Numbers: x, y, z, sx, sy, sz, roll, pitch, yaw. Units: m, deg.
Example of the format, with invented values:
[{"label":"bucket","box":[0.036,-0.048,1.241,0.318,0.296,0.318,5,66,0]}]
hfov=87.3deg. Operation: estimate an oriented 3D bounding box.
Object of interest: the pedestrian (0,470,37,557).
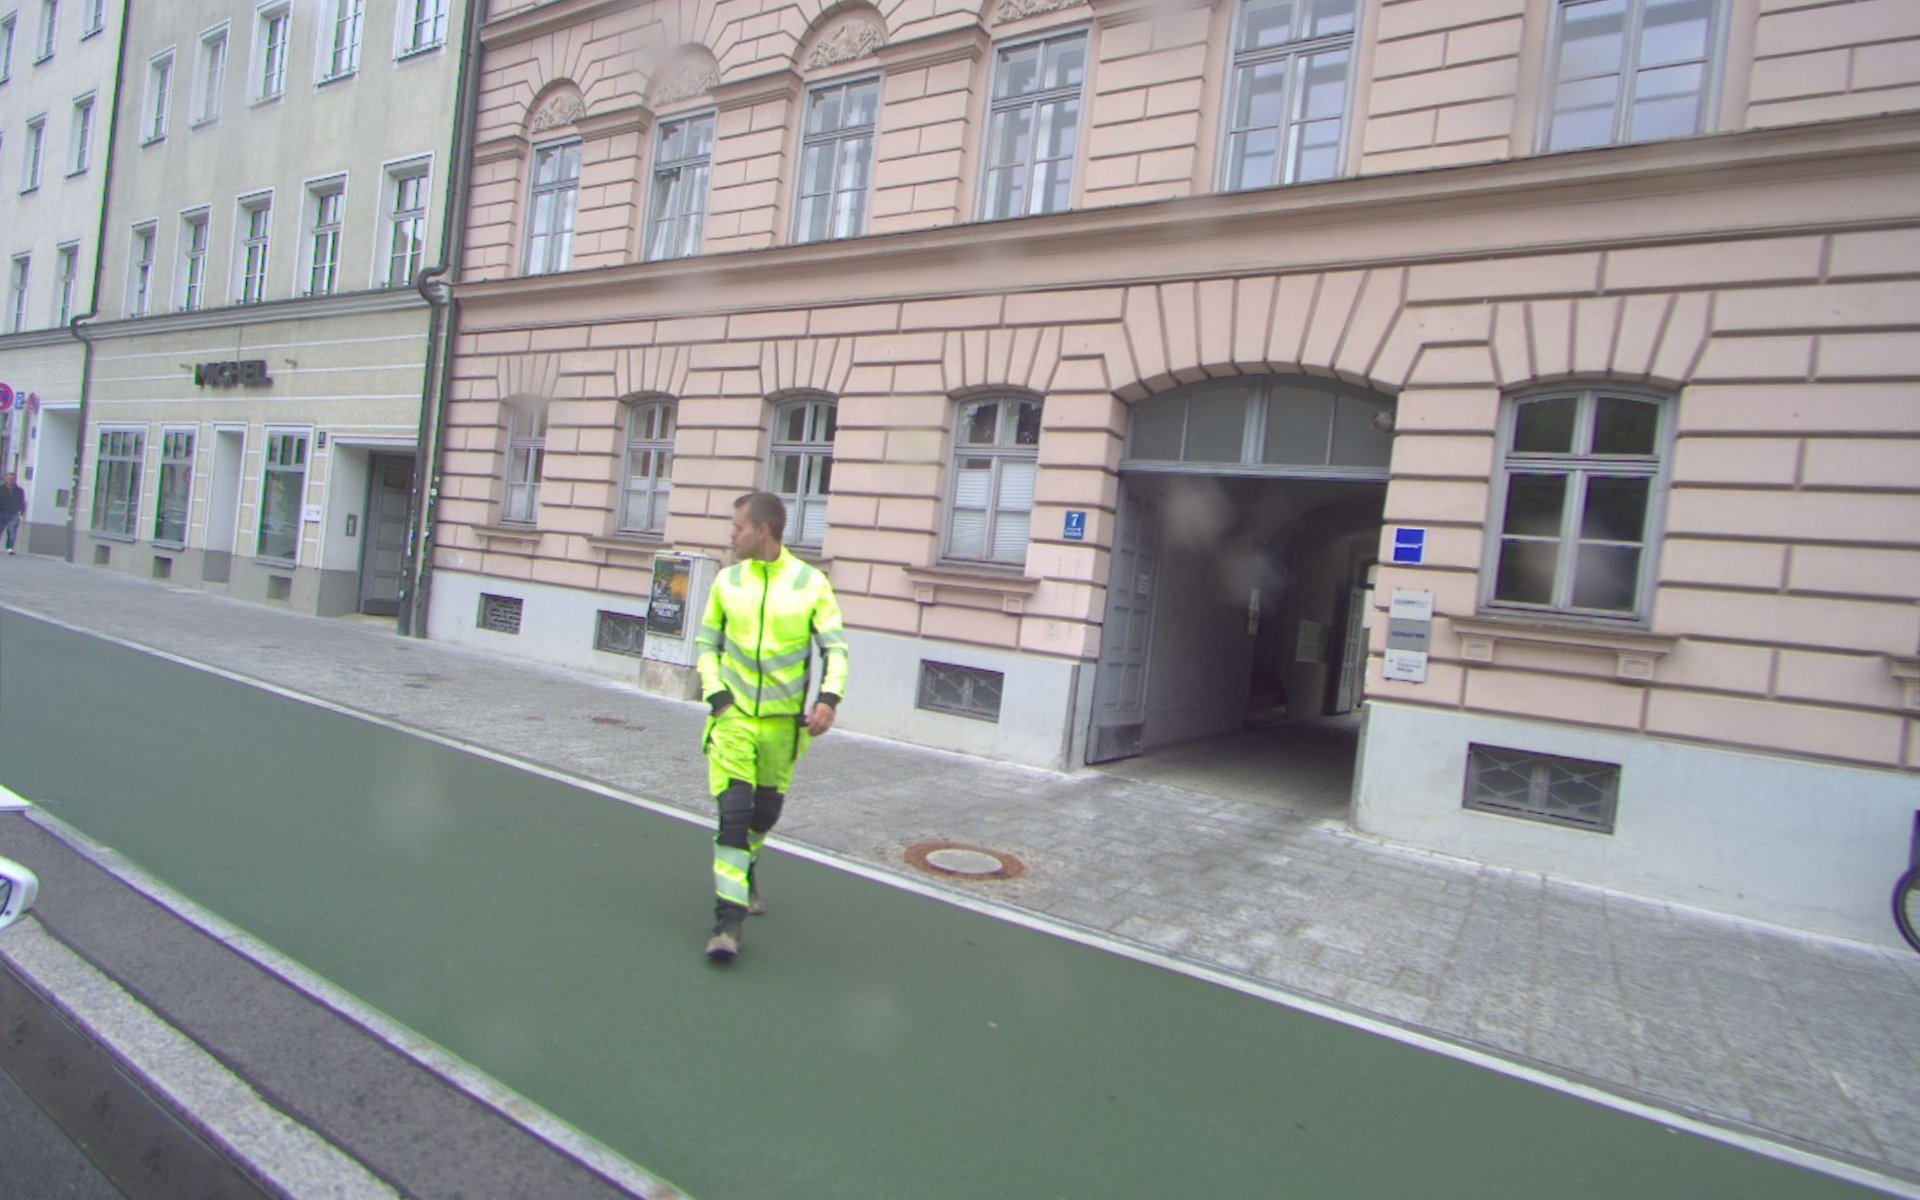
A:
[{"label":"pedestrian","box":[-20.539,-1.875,21.577,0.819,1.767,0.794,7,1,32]}]

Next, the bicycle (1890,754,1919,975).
[{"label":"bicycle","box":[6.006,1.542,5.146,0.554,1.192,1.704,6,1,-44]}]

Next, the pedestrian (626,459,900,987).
[{"label":"pedestrian","box":[-0.775,0.453,4.067,0.801,1.826,0.991,5,1,-10]}]
